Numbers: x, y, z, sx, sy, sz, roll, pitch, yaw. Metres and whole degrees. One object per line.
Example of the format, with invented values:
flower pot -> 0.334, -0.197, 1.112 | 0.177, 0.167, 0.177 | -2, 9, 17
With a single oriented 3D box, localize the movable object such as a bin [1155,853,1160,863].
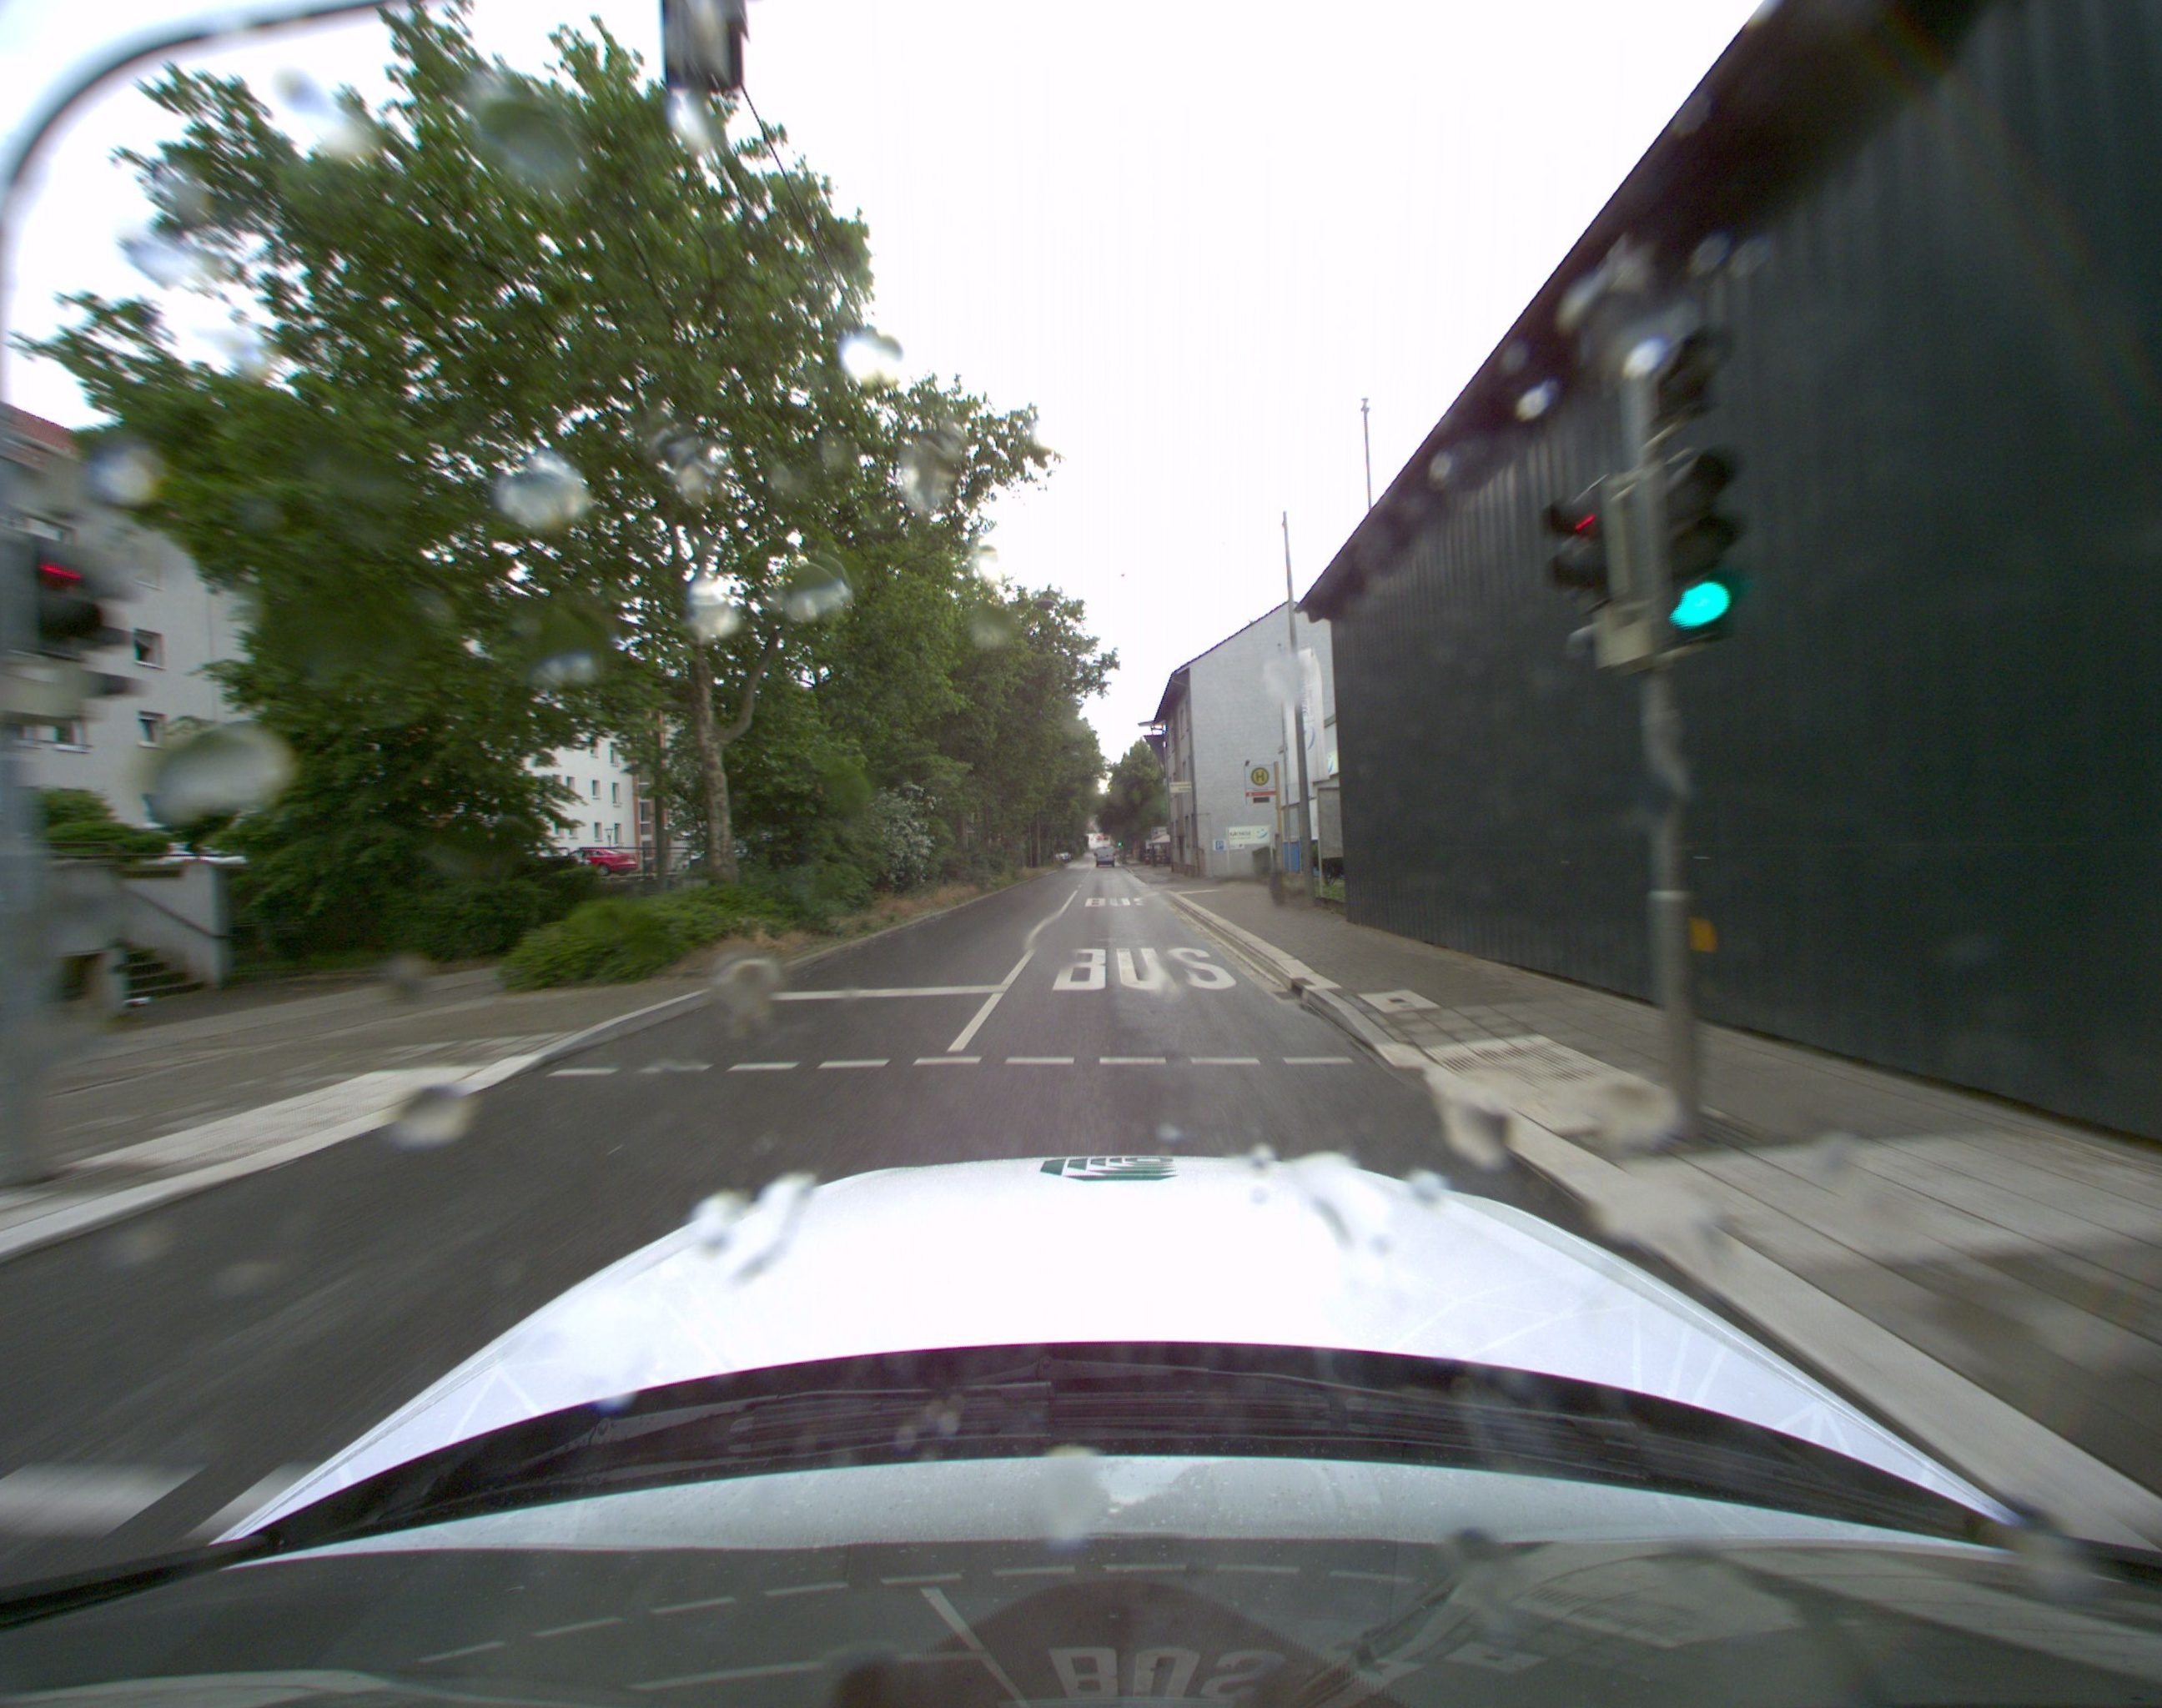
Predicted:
movable object such as a bin -> 8.030, 0.445, 85.431 | 0.399, 1.067, 0.358 | -2, -2, -5

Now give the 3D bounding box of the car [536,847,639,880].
car -> -24.150, 0.468, 39.937 | 3.973, 1.431, 1.665 | -2, 0, 0

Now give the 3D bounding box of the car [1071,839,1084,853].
car -> -0.753, -1.580, 160.746 | 2.206, 2.294, 4.613 | -1, -3, 4

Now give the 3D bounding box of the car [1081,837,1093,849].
car -> 1.239, -2.293, 167.556 | 2.208, 2.294, 4.609 | -1, -2, 1

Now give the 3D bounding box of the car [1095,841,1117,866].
car -> 2.743, -0.068, 90.155 | 2.274, 2.553, 4.001 | -2, -2, 2

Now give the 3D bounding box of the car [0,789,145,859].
car -> -23.435, -0.622, 18.007 | 3.587, 1.394, 1.542 | -1, -2, -1

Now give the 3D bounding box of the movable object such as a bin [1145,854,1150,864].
movable object such as a bin -> 6.959, 0.534, 85.369 | 0.399, 1.066, 0.358 | -6, -2, -5

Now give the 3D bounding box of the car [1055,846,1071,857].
car -> -2.917, -0.446, 135.404 | 2.206, 1.691, 4.613 | -1, -2, 4

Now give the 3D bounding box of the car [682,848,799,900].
car -> -14.450, 0.820, 34.715 | 4.156, 2.013, 1.718 | -2, 0, -2

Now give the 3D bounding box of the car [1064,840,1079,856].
car -> -1.556, -1.064, 140.081 | 2.206, 2.534, 4.613 | -1, -2, 4

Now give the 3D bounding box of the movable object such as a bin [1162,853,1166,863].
movable object such as a bin -> 8.693, 0.429, 85.467 | 0.356, 1.067, 0.358 | -1, -2, -5
